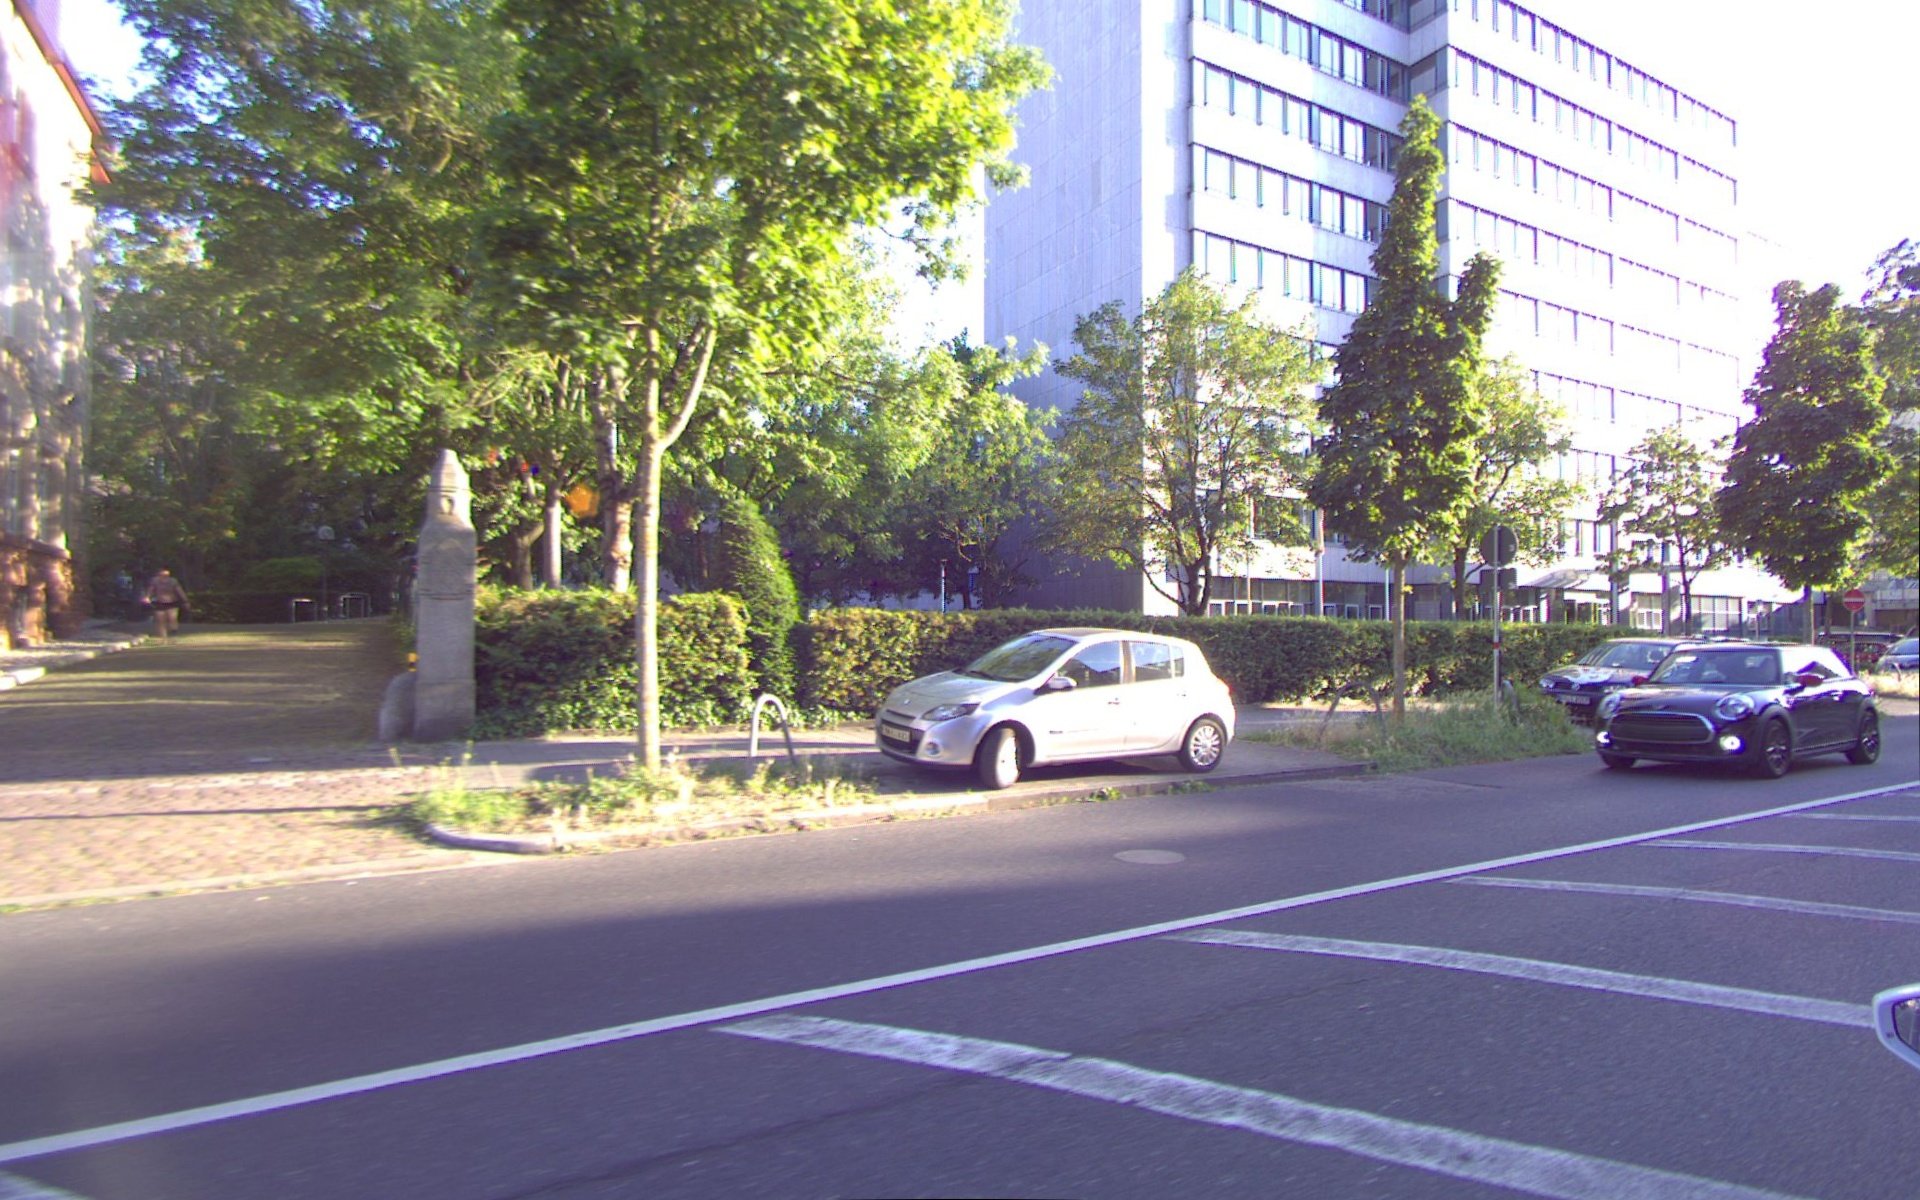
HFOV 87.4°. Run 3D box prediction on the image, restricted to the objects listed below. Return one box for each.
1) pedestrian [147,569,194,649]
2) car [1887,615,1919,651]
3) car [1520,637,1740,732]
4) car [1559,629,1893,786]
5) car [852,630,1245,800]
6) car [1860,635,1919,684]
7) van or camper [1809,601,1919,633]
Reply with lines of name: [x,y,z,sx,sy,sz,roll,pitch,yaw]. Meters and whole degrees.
pedestrian: [-17.187,0.206,21.877,0.689,1.720,0.582,1,-2,-29]
car: [64.081,2.168,66.960,5.183,2.338,1.984,1,-1,-30]
car: [11.434,1.354,17.093,3.955,1.404,1.629,1,-1,-32]
car: [8.952,1.152,11.691,3.953,1.549,1.672,1,-4,-31]
car: [1.003,1.069,10.671,3.955,1.471,1.688,1,-1,-32]
car: [28.714,1.741,29.725,4.018,1.327,1.984,1,-1,-30]
van or camper: [75.083,1.386,83.485,2.421,2.556,6.529,1,-1,-31]
